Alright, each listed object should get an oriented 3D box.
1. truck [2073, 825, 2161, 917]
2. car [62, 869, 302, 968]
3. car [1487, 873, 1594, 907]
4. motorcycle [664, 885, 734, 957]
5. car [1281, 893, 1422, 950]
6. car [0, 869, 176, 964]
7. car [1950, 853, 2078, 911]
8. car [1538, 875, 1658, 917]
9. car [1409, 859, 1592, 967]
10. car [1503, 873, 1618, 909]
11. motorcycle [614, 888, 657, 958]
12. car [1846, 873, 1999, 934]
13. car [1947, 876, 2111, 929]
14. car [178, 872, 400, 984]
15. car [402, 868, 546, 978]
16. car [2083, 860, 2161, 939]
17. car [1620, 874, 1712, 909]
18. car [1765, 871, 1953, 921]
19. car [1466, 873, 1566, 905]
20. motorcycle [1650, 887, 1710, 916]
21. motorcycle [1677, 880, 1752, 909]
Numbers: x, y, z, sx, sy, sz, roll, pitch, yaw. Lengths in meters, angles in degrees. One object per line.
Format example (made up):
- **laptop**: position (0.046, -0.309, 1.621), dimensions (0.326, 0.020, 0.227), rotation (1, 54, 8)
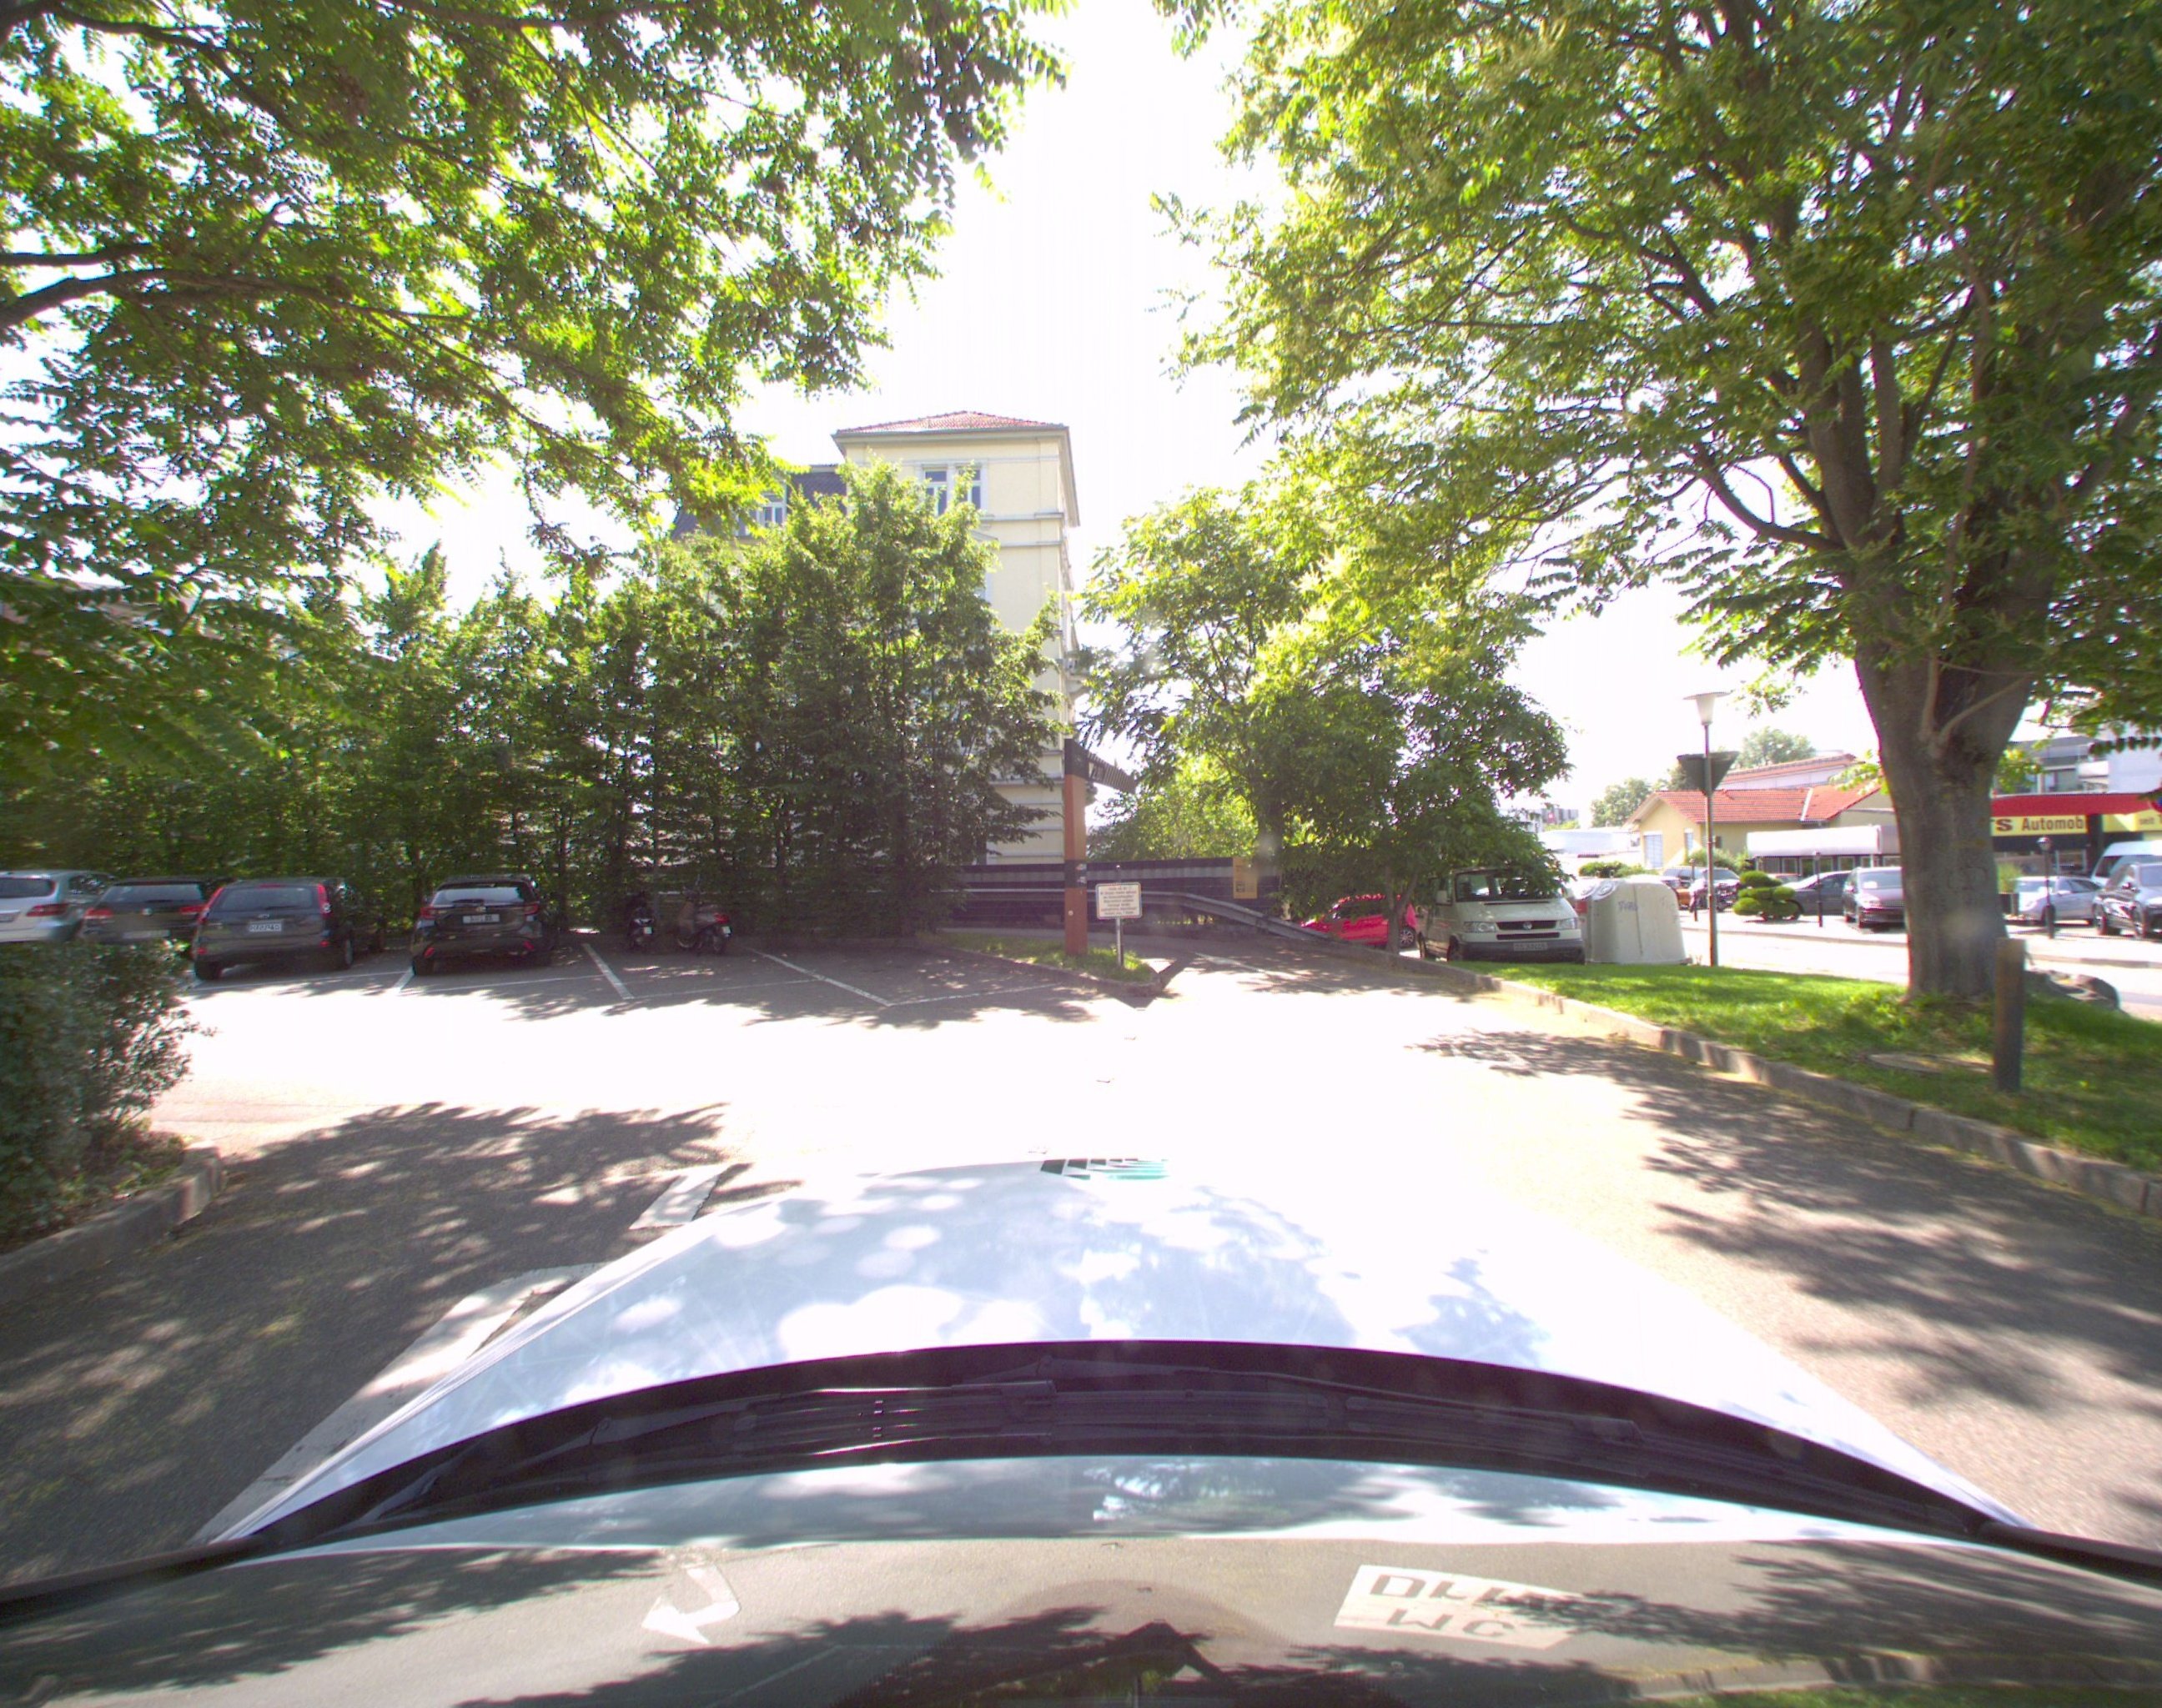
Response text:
- **truck**: position (36.646, 0.560, 27.577), dimensions (5.948, 2.904, 2.259), rotation (0, -1, -23)
- **car**: position (-16.715, 1.086, 15.435), dimensions (1.778, 1.469, 3.964), rotation (-1, 1, -28)
- **car**: position (24.420, 1.898, 43.385), dimensions (4.629, 1.726, 1.997), rotation (1, -2, -3)
- **motorcycle**: position (-6.709, 1.147, 14.272), dimensions (1.585, 1.169, 0.573), rotation (-2, -1, 44)
- **car**: position (7.343, 1.828, 22.331), dimensions (3.387, 1.378, 1.489), rotation (-2, 0, 5)
- **car**: position (-19.697, 1.121, 15.721), dimensions (1.779, 1.572, 3.962), rotation (-1, 0, -29)
- **car**: position (34.746, 1.023, 30.319), dimensions (4.503, 2.014, 1.983), rotation (1, -1, -25)
- **car**: position (22.389, 1.790, 35.405), dimensions (3.970, 1.706, 2.002), rotation (0, -1, 3)
- **car**: position (7.312, 0.891, 14.781), dimensions (1.937, 1.583, 5.051), rotation (0, 0, 15)
- **car**: position (23.932, 1.847, 40.735), dimensions (4.629, 1.726, 1.997), rotation (1, -2, -3)
- **motorcycle**: position (-8.051, 1.207, 14.692), dimensions (0.477, 1.141, 1.588), rotation (0, -1, -36)
- **car**: position (22.932, 1.291, 22.191), dimensions (4.008, 1.510, 1.778), rotation (1, -1, -27)
- **car**: position (28.392, 1.409, 24.417), dimensions (3.997, 1.487, 1.783), rotation (1, -1, -18)
- **car**: position (-13.010, 1.096, 13.681), dimensions (1.710, 1.453, 3.962), rotation (-1, 1, -30)
- **car**: position (-10.102, 1.032, 13.800), dimensions (1.667, 1.470, 3.864), rotation (-1, 1, -33)
- **car**: position (24.059, 0.963, 17.792), dimensions (2.027, 1.595, 4.450), rotation (-1, -1, 42)
- **car**: position (28.821, 1.808, 40.307), dimensions (1.983, 1.585, 4.006), rotation (0, -1, 6)
- **car**: position (26.546, 1.380, 28.027), dimensions (4.280, 1.585, 2.012), rotation (0, -1, 27)
- **car**: position (24.427, 1.942, 45.812), dimensions (4.629, 1.726, 1.997), rotation (1, -2, -3)
- **motorcycle**: position (25.325, 1.999, 34.461), dimensions (1.854, 1.159, 0.793), rotation (0, -1, 16)
- **motorcycle**: position (28.296, 1.807, 36.406), dimensions (2.704, 1.227, 0.998), rotation (0, -1, -4)
